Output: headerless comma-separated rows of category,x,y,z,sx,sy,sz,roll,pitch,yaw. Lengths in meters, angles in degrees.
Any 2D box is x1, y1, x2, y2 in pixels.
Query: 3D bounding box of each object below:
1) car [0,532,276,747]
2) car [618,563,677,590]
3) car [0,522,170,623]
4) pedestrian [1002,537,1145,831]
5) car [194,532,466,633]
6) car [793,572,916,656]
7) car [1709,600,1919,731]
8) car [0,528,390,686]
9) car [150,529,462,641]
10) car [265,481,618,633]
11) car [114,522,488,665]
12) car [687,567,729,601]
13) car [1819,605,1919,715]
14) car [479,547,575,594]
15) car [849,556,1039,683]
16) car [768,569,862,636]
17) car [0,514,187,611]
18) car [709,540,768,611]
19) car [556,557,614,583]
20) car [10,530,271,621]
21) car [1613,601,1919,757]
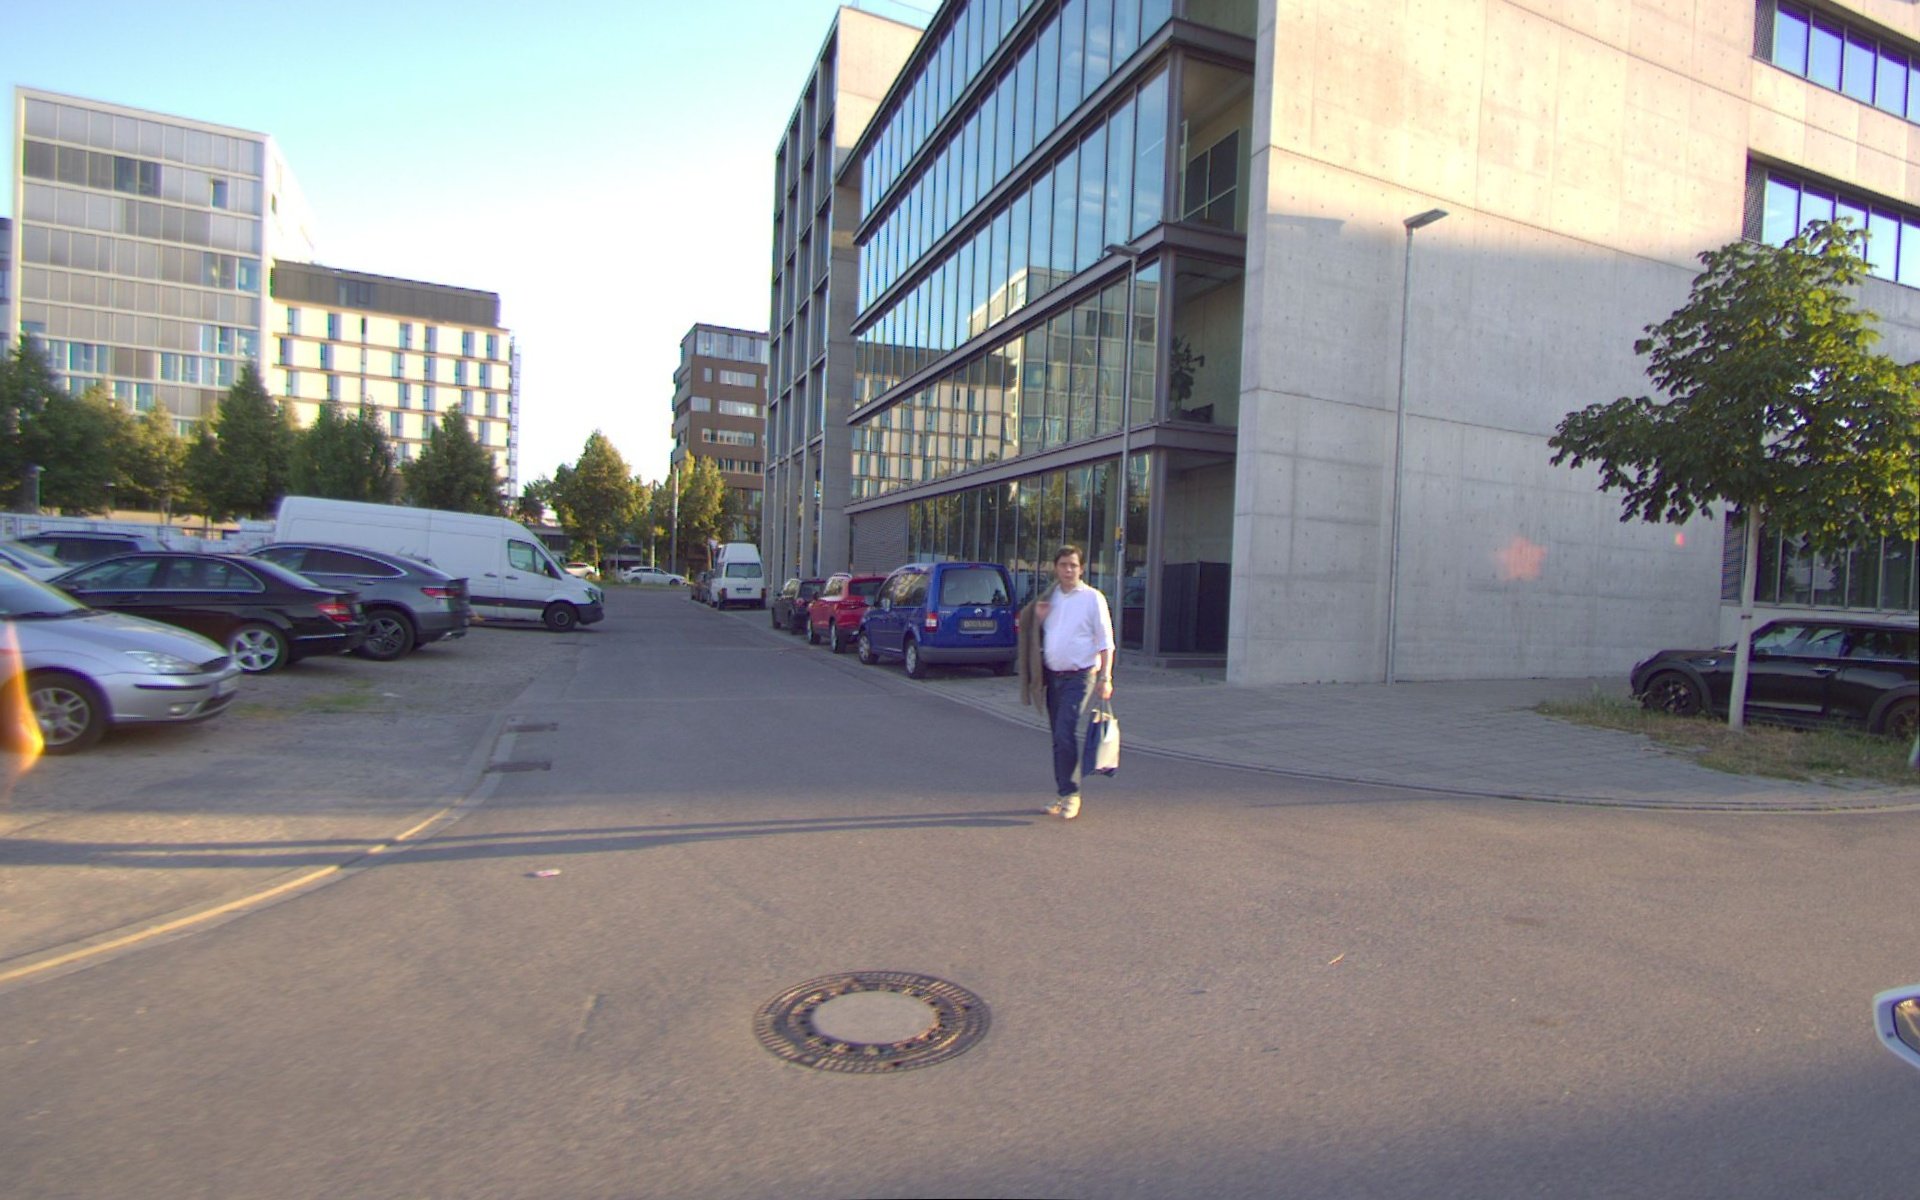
car,-7.919,0.213,7.664,4.146,1.499,1.658,4,2,-24
car,-22.662,-1.731,72.830,3.904,1.519,1.659,6,1,-22
car,-15.469,-0.484,15.907,4.346,1.520,1.657,1,3,-25
pedestrian,0.802,0.535,6.939,0.884,1.875,0.857,1,1,10
car,-12.199,-0.337,19.803,4.244,1.519,1.657,5,1,-25
car,-2.399,0.221,21.961,1.751,1.652,4.035,-1,2,-20
car,12.814,0.893,13.416,1.823,1.549,4.069,2,2,-27
car,-9.587,0.087,12.248,4.348,1.499,1.657,5,1,-25
car,-11.416,-0.253,17.932,4.348,1.519,1.657,5,1,-25
car,-11.770,-0.896,23.472,6.888,2.839,2.200,4,1,-24
car,-9.524,-0.072,14.996,4.348,1.642,1.657,5,1,-25
car,-12.545,-0.841,49.916,1.654,1.593,3.698,-1,3,-20
car,15.031,0.947,14.263,1.565,1.533,3.982,0,3,-27
car,-20.440,-1.398,47.480,4.073,2.053,1.657,1,3,-25
car,-0.417,0.223,16.953,1.821,1.856,4.076,0,2,-23
car,-4.055,0.007,27.558,1.751,1.633,4.035,-1,3,-20
car,-17.168,-0.733,18.483,4.347,1.643,1.657,2,2,-25
car,-8.904,-0.973,40.179,1.928,2.689,4.039,1,1,-18
car,-27.970,-2.247,74.880,3.904,1.519,1.659,6,1,-22
car,-18.959,-0.557,23.510,4.348,1.642,1.657,5,1,-25
car,10.426,0.869,12.246,1.747,1.502,3.720,1,2,-27
